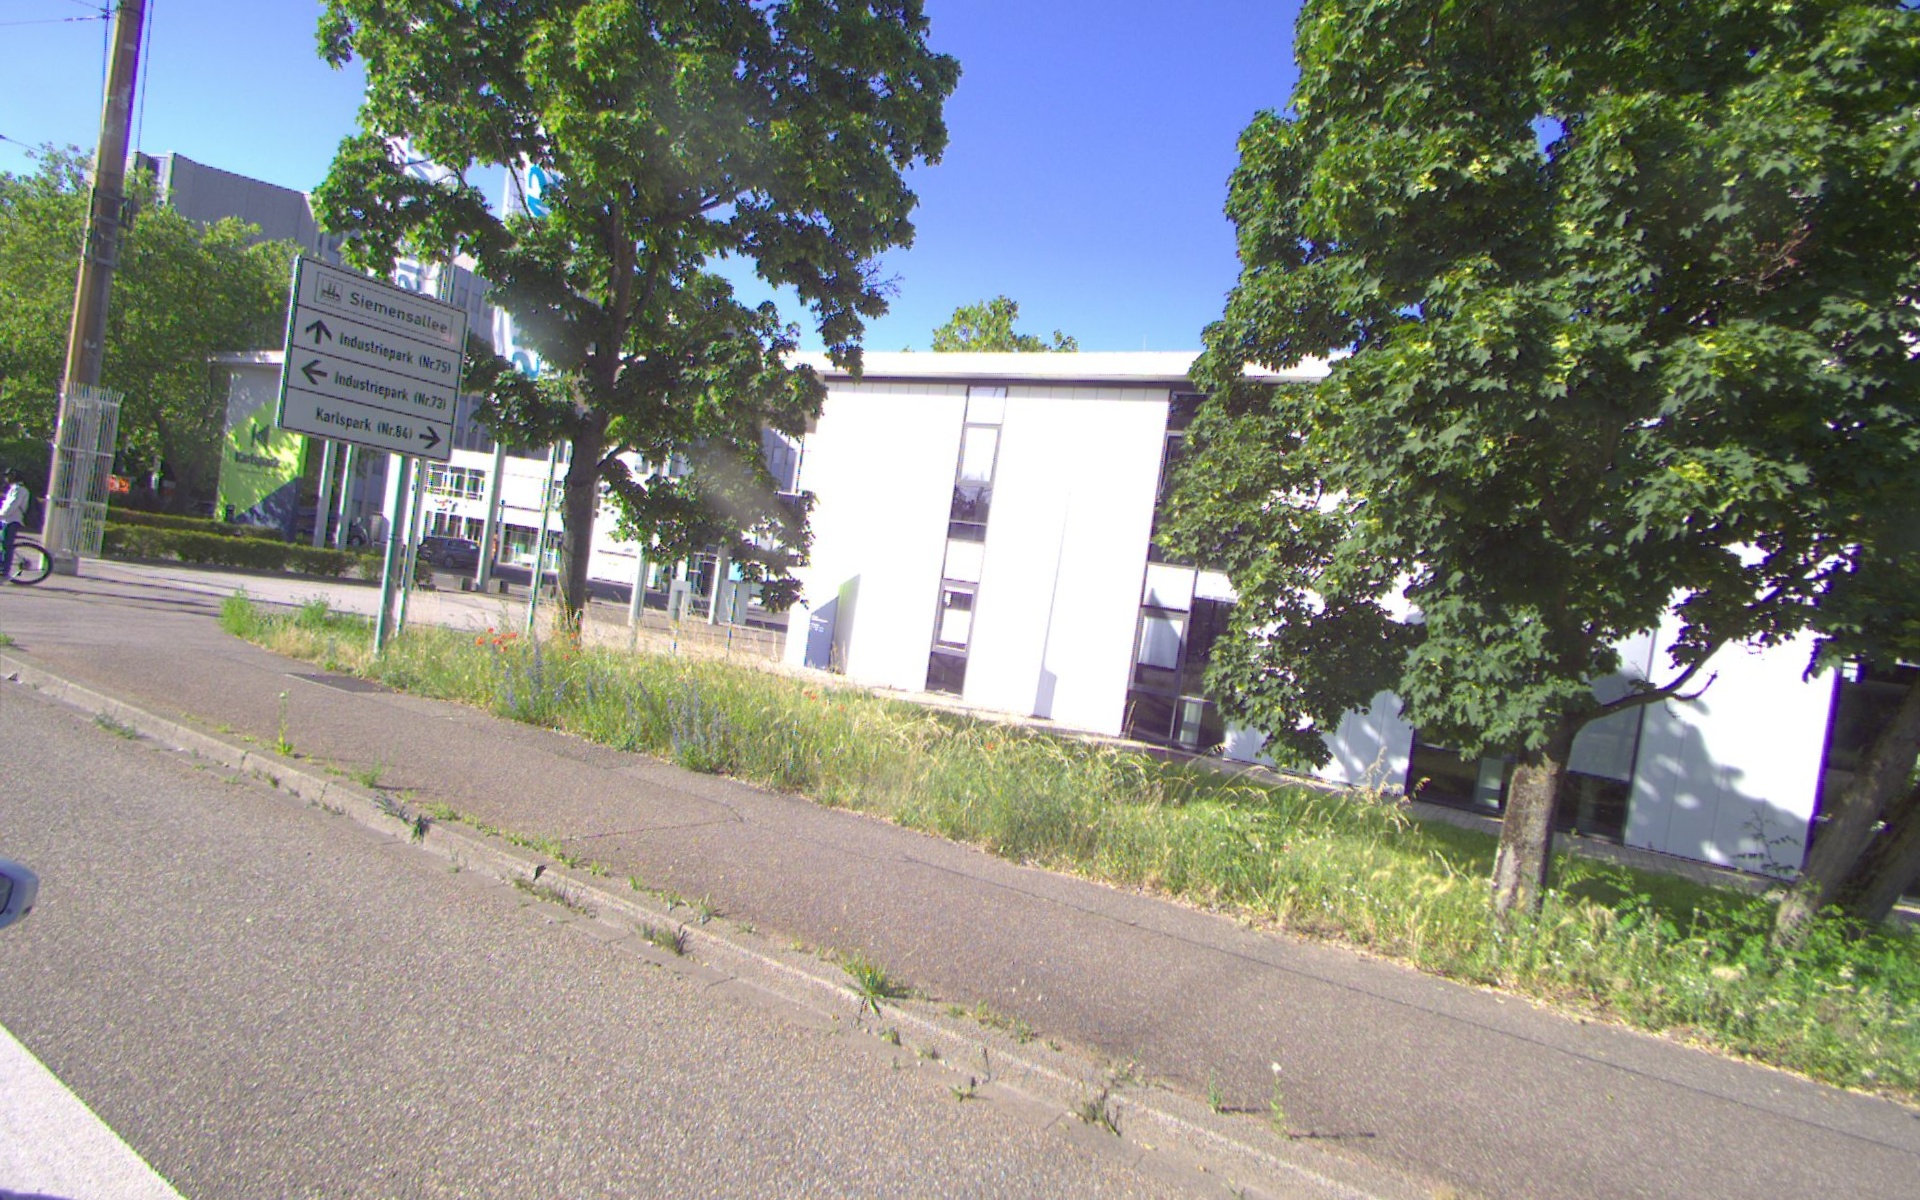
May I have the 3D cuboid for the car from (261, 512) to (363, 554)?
[{"bbox_3d":[-36.412,-3.752,56.699,1.841,1.649,4.553,7,-1,19],"label":"car"}]

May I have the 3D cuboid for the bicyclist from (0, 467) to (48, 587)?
[{"bbox_3d":[-14.746,-1.139,15.470,0.754,1.767,0.908,7,1,42],"label":"bicyclist"}]

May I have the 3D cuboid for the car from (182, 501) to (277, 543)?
[{"bbox_3d":[-42.944,-4.559,59.222,1.963,1.778,4.002,8,-1,19],"label":"car"}]

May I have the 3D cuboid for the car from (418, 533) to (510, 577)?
[{"bbox_3d":[-26.489,-2.389,53.852,1.865,1.741,4.001,8,-1,22],"label":"car"}]

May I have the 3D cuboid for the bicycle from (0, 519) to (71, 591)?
[{"bbox_3d":[-14.903,-0.743,15.342,0.754,1.010,1.916,7,1,42],"label":"bicycle"}]
